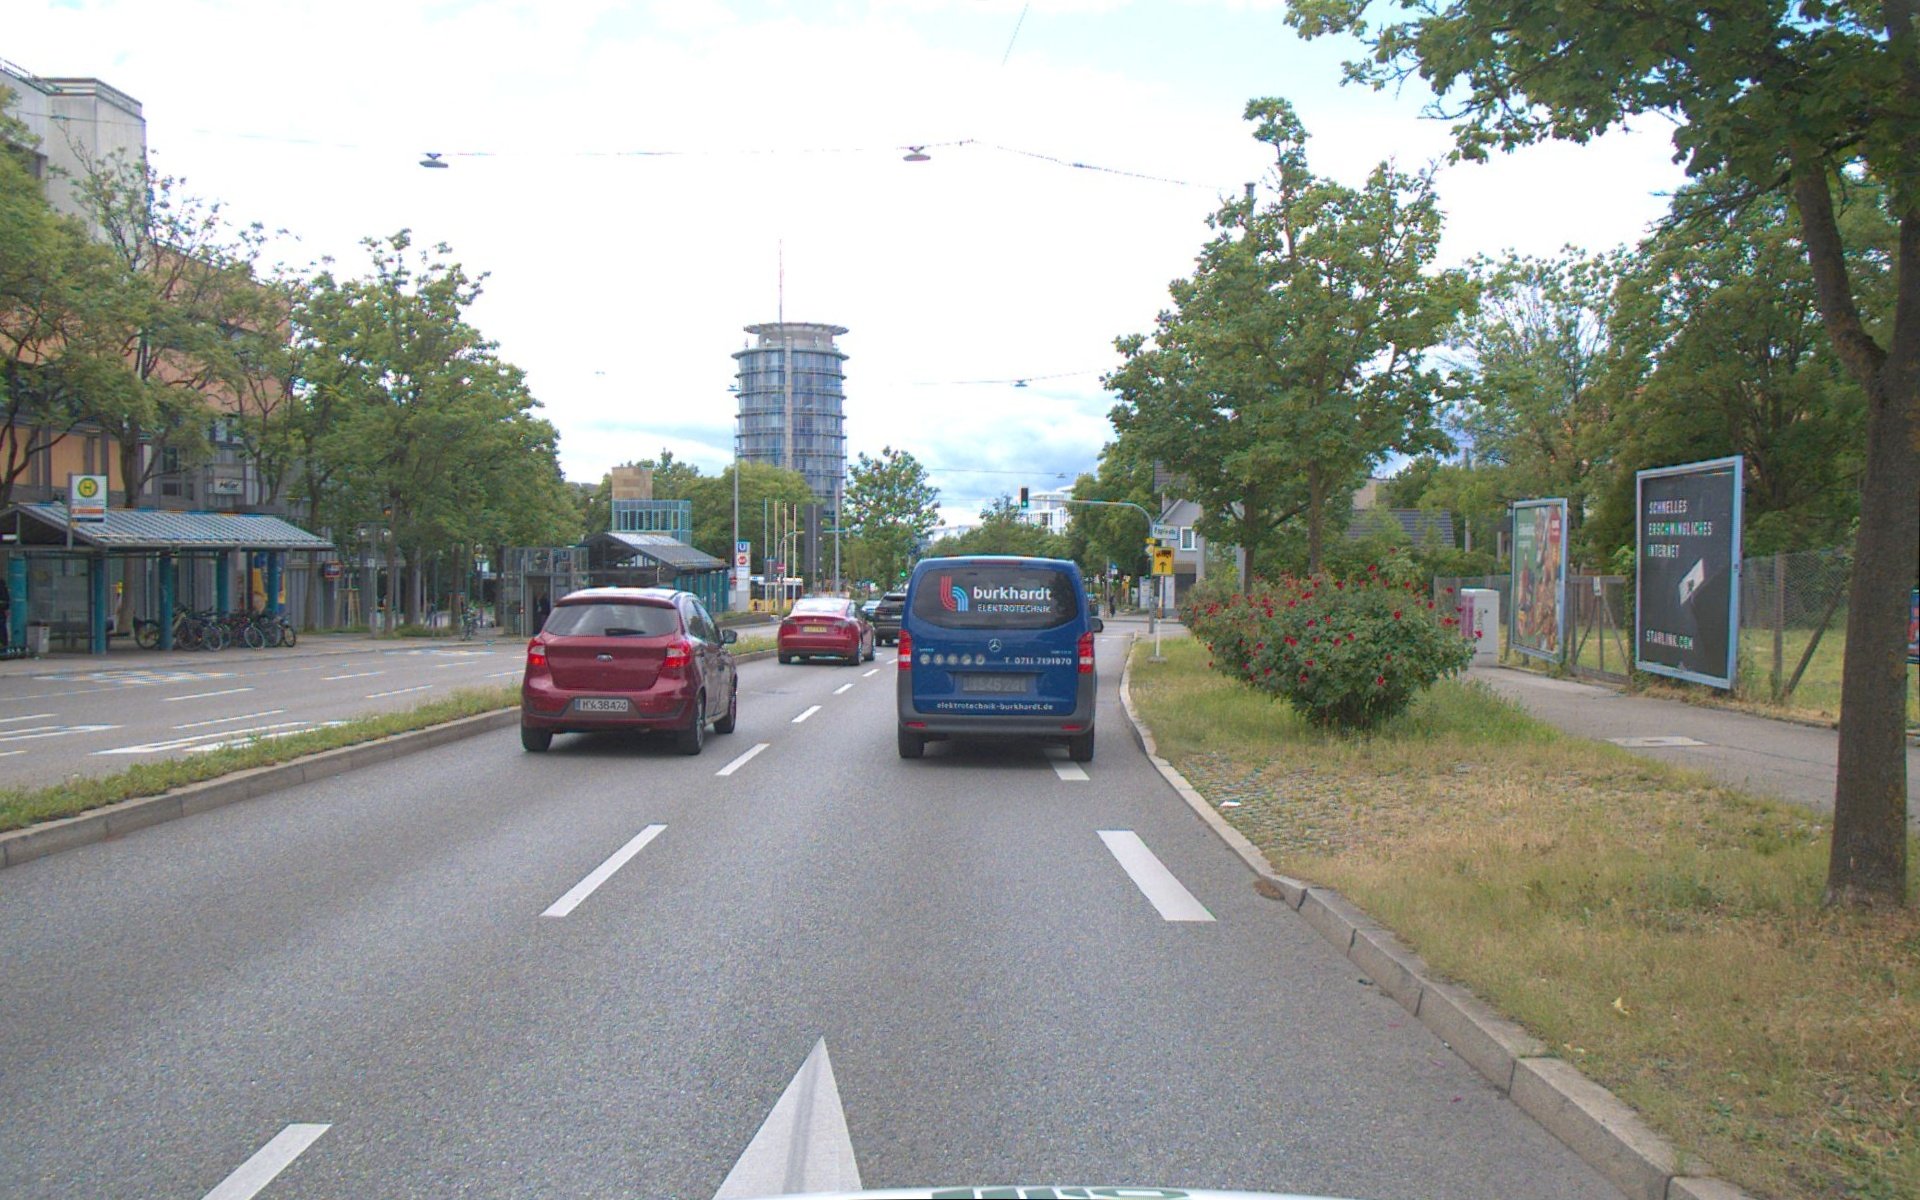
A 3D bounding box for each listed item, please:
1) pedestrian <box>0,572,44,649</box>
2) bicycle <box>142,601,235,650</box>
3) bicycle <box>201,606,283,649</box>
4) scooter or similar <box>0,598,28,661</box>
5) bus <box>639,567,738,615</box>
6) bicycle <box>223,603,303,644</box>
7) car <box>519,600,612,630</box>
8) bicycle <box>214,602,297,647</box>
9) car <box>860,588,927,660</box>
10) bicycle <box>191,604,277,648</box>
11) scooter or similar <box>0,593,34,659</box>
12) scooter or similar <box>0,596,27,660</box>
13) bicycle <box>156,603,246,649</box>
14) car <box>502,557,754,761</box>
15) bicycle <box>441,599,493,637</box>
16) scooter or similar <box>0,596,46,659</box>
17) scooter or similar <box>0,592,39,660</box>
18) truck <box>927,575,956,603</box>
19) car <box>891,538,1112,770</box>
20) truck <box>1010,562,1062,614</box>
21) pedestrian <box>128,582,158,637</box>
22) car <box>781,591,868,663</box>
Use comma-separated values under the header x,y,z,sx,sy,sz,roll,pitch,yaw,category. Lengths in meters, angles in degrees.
x,y,z,sx,sy,sz,roll,pitch,yaw,category
-22.412,0.250,39.277,0.717,1.812,0.997,0,0,2,pedestrian
-20.197,0.663,43.313,2.027,1.173,0.710,3,0,-10,bicycle
-20.324,0.773,46.846,2.027,1.173,0.710,0,0,-10,bicycle
-20.251,0.610,34.806,1.105,1.318,0.268,0,0,-2,scooter or similar
-19.106,-0.600,117.502,2.894,3.188,12.170,1,0,11,bus
-20.579,0.698,48.866,2.027,1.173,0.710,1,0,-10,bicycle
-18.441,0.681,77.459,3.907,1.378,1.999,0,0,-3,car
-20.348,0.709,47.830,2.027,1.173,0.710,3,-1,-10,bicycle
-2.069,0.715,51.546,1.954,2.048,3.998,1,1,-3,car
-19.945,0.717,45.459,2.027,1.173,0.710,1,0,-10,bicycle
-20.298,0.549,35.079,1.177,1.409,0.222,0,0,-2,scooter or similar
-20.192,0.570,34.447,1.294,1.292,0.339,2,0,-2,scooter or similar
-20.391,0.699,44.453,2.027,1.173,0.710,2,0,-10,bicycle
-3.191,0.521,16.660,1.711,1.753,3.999,2,0,-1,car
-17.679,0.624,59.337,1.030,1.293,2.425,2,0,2,bicycle
-20.359,0.593,35.646,1.177,1.343,0.259,0,0,-2,scooter or similar
-20.357,0.560,35.347,1.177,1.448,0.259,0,0,-2,scooter or similar
-2.517,-1.471,229.941,3.297,3.792,11.285,1,0,3,truck
0.320,0.473,16.769,1.908,2.000,4.540,1,0,-1,car
3.478,-0.508,75.041,1.951,2.203,5.563,2,0,6,truck
-24.986,0.292,50.593,0.520,1.672,0.676,0,0,7,pedestrian
-3.013,0.585,37.431,1.831,1.512,3.997,-1,0,-3,car
